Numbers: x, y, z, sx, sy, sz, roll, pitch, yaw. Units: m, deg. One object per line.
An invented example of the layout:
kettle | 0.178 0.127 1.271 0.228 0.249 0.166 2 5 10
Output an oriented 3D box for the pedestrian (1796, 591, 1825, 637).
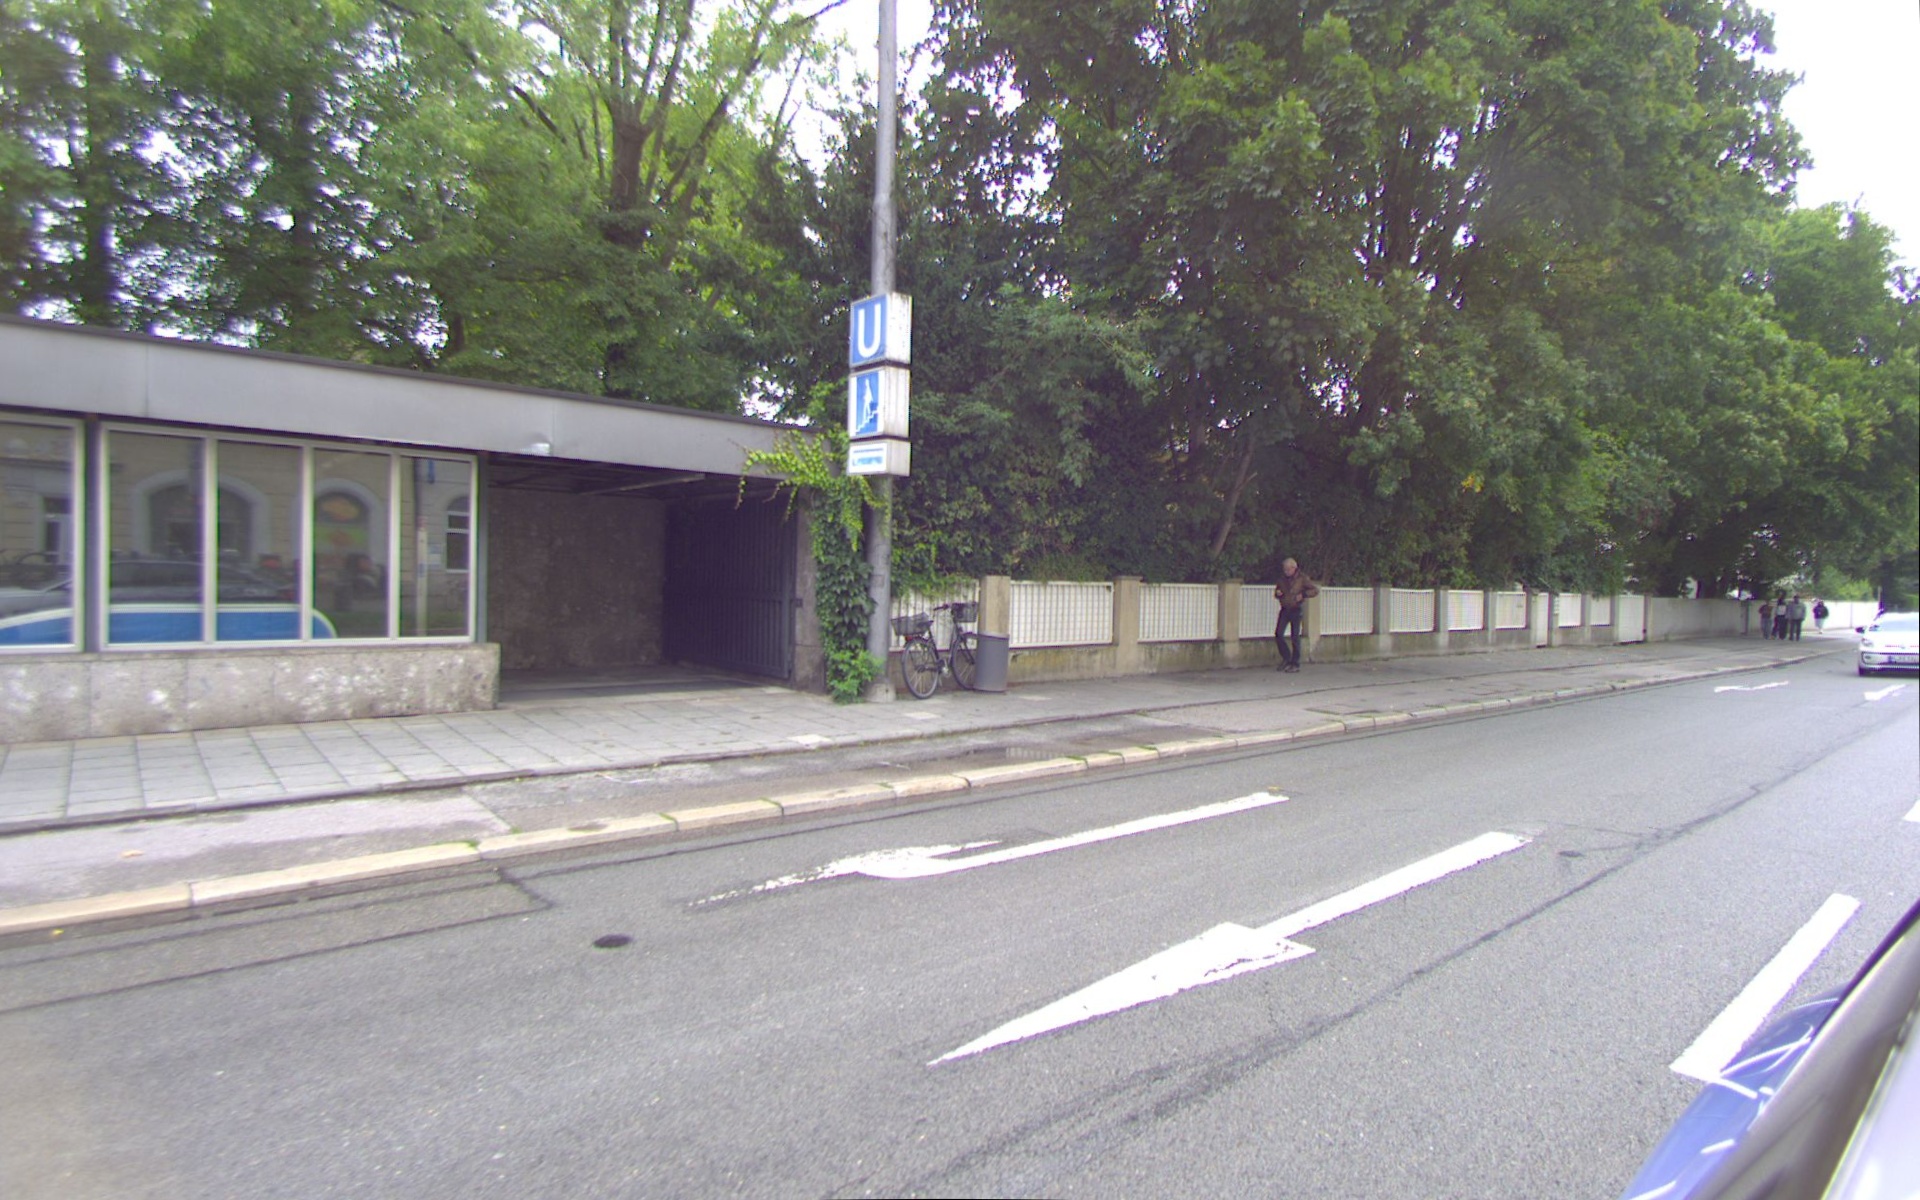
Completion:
pedestrian | 32.407 0.524 38.546 0.716 1.713 0.667 0 3 -42

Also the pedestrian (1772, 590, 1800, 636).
pedestrian | 31.935 0.485 39.127 0.753 1.726 0.667 0 3 -42

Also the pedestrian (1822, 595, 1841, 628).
pedestrian | 42.897 0.553 49.795 0.716 1.600 0.529 0 3 -42

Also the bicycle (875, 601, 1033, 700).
bicycle | -0.040 0.578 12.342 1.990 1.104 0.623 0 1 -41

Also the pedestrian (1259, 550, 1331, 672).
pedestrian | 5.570 0.169 16.858 0.788 1.966 0.779 1 2 -40

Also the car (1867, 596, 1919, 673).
car | 21.349 0.725 22.288 3.524 1.581 1.645 0 1 -42
